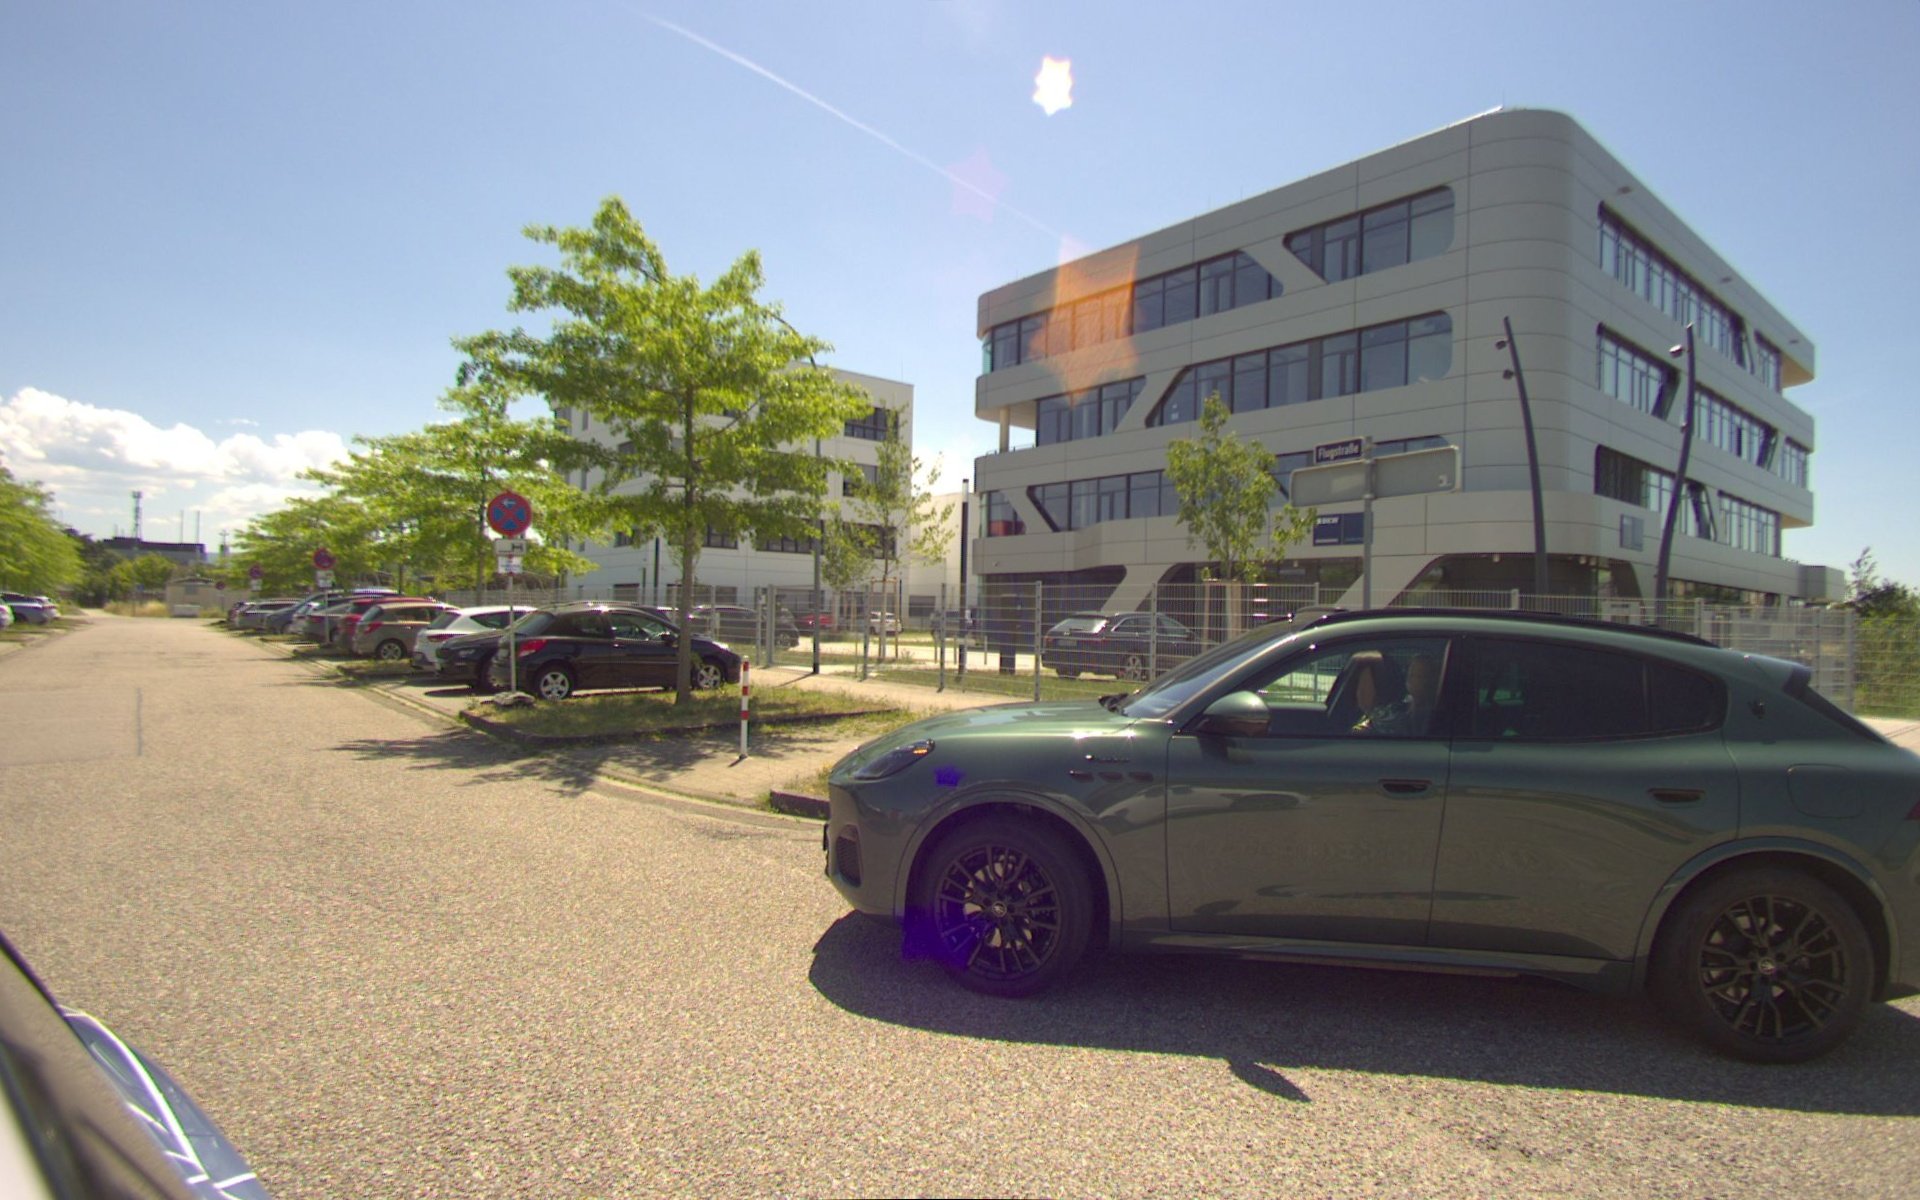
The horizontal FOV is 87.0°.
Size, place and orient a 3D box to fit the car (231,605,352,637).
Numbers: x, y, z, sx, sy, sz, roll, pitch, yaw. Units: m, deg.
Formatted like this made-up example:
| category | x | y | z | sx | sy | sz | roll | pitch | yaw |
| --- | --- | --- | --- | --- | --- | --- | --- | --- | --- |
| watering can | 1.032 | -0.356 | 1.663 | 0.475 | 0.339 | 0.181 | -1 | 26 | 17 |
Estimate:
| category | x | y | z | sx | sy | sz | roll | pitch | yaw |
| --- | --- | --- | --- | --- | --- | --- | --- | --- | --- |
| car | -31.963 | 0.975 | 48.469 | 4.654 | 1.458 | 1.860 | 0 | 0 | -41 |

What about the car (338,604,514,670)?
| category | x | y | z | sx | sy | sz | roll | pitch | yaw |
| --- | --- | --- | --- | --- | --- | --- | --- | --- | --- |
| car | -13.440 | 0.873 | 25.561 | 3.613 | 1.520 | 1.733 | 0 | 0 | -43 |

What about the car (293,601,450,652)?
| category | x | y | z | sx | sy | sz | roll | pitch | yaw |
| --- | --- | --- | --- | --- | --- | --- | --- | --- | --- |
| car | -18.821 | 0.786 | 32.442 | 4.140 | 1.491 | 1.716 | -1 | 0 | -39 |

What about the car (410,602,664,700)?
| category | x | y | z | sx | sy | sz | roll | pitch | yaw |
| --- | --- | --- | --- | --- | --- | --- | --- | --- | --- |
| car | -7.550 | 0.831 | 18.245 | 3.878 | 1.532 | 1.788 | -1 | 0 | -40 |

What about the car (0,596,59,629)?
| category | x | y | z | sx | sy | sz | roll | pitch | yaw |
| --- | --- | --- | --- | --- | --- | --- | --- | --- | --- |
| car | -47.802 | 0.615 | 50.636 | 3.783 | 1.565 | 1.784 | 3 | -3 | -34 |

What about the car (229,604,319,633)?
| category | x | y | z | sx | sy | sz | roll | pitch | yaw |
| --- | --- | --- | --- | --- | --- | --- | --- | --- | --- |
| car | -38.940 | 1.032 | 57.470 | 4.118 | 1.524 | 1.811 | -1 | -1 | -38 |

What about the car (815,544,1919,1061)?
| category | x | y | z | sx | sy | sz | roll | pitch | yaw |
| --- | --- | --- | --- | --- | --- | --- | --- | --- | --- |
| car | 1.758 | 0.759 | 4.731 | 4.456 | 1.720 | 1.954 | 2 | -3 | 6 |

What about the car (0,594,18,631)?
| category | x | y | z | sx | sy | sz | roll | pitch | yaw |
| --- | --- | --- | --- | --- | --- | --- | --- | --- | --- |
| car | -44.359 | 0.453 | 44.589 | 3.995 | 1.637 | 1.696 | 4 | -3 | -39 |

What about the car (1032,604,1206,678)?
| category | x | y | z | sx | sy | sz | roll | pitch | yaw |
| --- | --- | --- | --- | --- | --- | --- | --- | --- | --- |
| car | 3.298 | 0.856 | 20.720 | 3.435 | 1.401 | 1.681 | 4 | -3 | -40 |

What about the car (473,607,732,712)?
| category | x | y | z | sx | sy | sz | roll | pitch | yaw |
| --- | --- | --- | --- | --- | --- | --- | --- | --- | --- |
| car | -5.703 | 0.870 | 16.316 | 3.580 | 1.446 | 1.729 | -1 | 0 | -40 |

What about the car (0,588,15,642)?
| category | x | y | z | sx | sy | sz | roll | pitch | yaw |
| --- | --- | --- | --- | --- | --- | --- | --- | --- | --- |
| car | -34.895 | 0.400 | 34.015 | 4.346 | 1.844 | 1.799 | 4 | -3 | -38 |

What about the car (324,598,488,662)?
| category | x | y | z | sx | sy | sz | roll | pitch | yaw |
| --- | --- | --- | --- | --- | --- | --- | --- | --- | --- |
| car | -15.048 | 0.755 | 27.557 | 3.690 | 1.633 | 1.820 | 0 | 0 | -39 |

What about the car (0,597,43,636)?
| category | x | y | z | sx | sy | sz | roll | pitch | yaw |
| --- | --- | --- | --- | --- | --- | --- | --- | --- | --- |
| car | -40.419 | 0.587 | 41.086 | 4.659 | 1.573 | 1.915 | 4 | -3 | -43 |

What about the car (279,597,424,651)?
| category | x | y | z | sx | sy | sz | roll | pitch | yaw |
| --- | --- | --- | --- | --- | --- | --- | --- | --- | --- |
| car | -20.664 | 0.769 | 34.436 | 3.941 | 1.691 | 1.778 | -1 | 0 | -44 |

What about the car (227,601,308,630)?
| category | x | y | z | sx | sy | sz | roll | pitch | yaw |
| --- | --- | --- | --- | --- | --- | --- | --- | --- | --- |
| car | -40.725 | 0.888 | 59.551 | 3.792 | 1.604 | 1.730 | 0 | 0 | -42 |

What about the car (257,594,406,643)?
| category | x | y | z | sx | sy | sz | roll | pitch | yaw |
| --- | --- | --- | --- | --- | --- | --- | --- | --- | --- |
| car | -25.629 | 0.721 | 41.348 | 5.004 | 1.906 | 2.001 | 0 | -1 | -38 |

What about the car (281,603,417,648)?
| category | x | y | z | sx | sy | sz | roll | pitch | yaw |
| --- | --- | --- | --- | --- | --- | --- | --- | --- | --- |
| car | -21.970 | 0.875 | 36.482 | 3.988 | 1.472 | 1.606 | -1 | 0 | -42 |

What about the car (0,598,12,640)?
| category | x | y | z | sx | sy | sz | roll | pitch | yaw |
| --- | --- | --- | --- | --- | --- | --- | --- | --- | --- |
| car | -36.330 | 0.586 | 36.001 | 3.584 | 1.514 | 1.679 | 4 | -3 | -38 |

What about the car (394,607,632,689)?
| category | x | y | z | sx | sy | sz | roll | pitch | yaw |
| --- | --- | --- | --- | --- | --- | --- | --- | --- | --- |
| car | -8.977 | 0.886 | 20.508 | 4.027 | 1.434 | 1.876 | -1 | 0 | -43 |
